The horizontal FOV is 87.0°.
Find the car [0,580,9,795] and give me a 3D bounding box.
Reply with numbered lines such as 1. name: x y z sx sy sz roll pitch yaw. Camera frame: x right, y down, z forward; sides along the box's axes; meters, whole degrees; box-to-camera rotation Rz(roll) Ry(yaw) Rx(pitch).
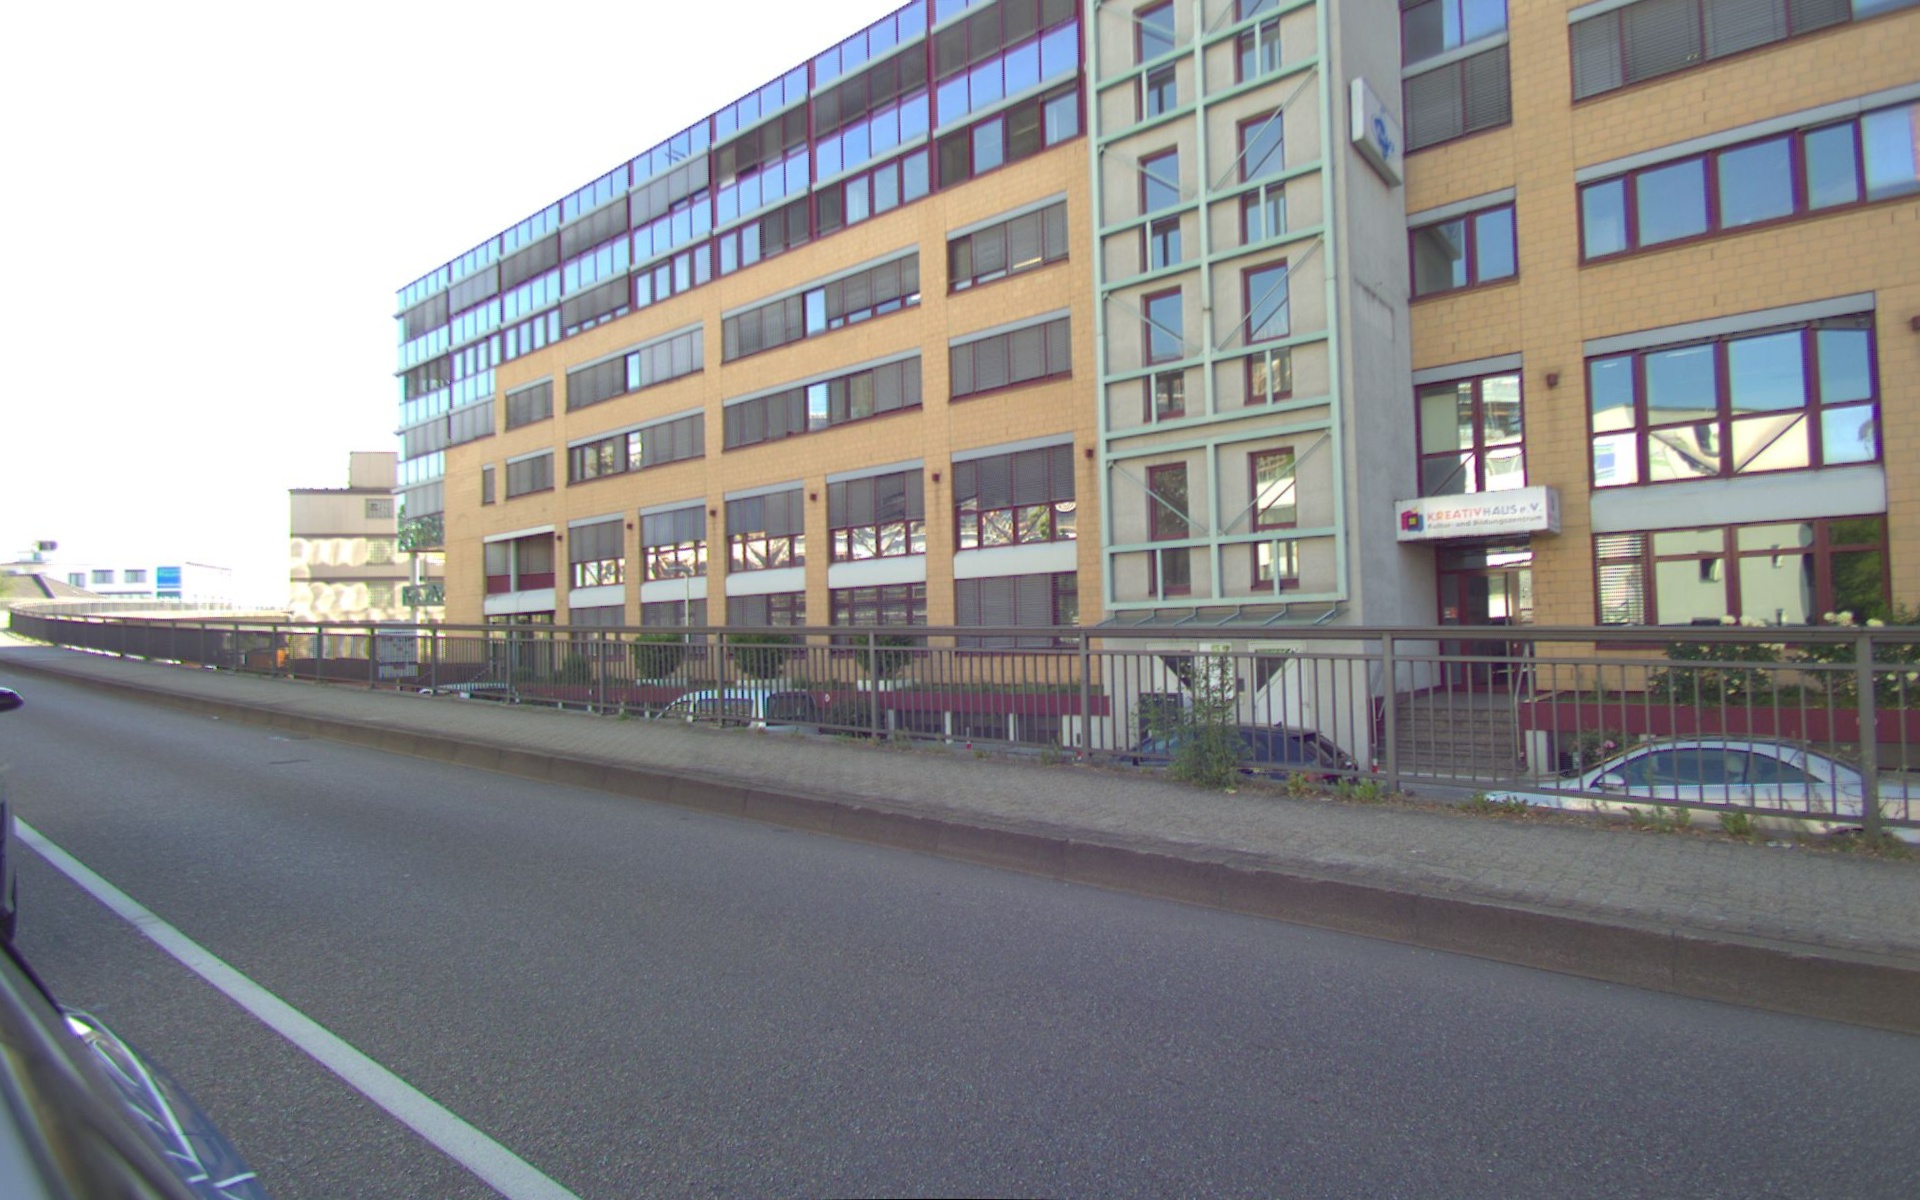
1. car: -5.852 0.792 4.662 3.998 1.660 1.726 -3 -4 41

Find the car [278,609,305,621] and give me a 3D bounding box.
1. car: -93.473 2.137 141.606 1.920 1.475 4.011 5 -3 -15

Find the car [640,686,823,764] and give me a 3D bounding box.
1. car: -4.603 2.414 20.131 3.805 1.279 1.560 -3 -4 40

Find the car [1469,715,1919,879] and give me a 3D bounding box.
1. car: 7.677 1.876 10.211 4.254 1.175 1.704 -3 -4 40

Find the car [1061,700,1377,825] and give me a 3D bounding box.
1. car: 3.378 2.064 13.586 3.805 1.279 1.560 -3 -4 40

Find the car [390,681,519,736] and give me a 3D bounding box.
1. car: -13.829 2.915 27.630 3.805 1.279 1.744 -3 -4 39
